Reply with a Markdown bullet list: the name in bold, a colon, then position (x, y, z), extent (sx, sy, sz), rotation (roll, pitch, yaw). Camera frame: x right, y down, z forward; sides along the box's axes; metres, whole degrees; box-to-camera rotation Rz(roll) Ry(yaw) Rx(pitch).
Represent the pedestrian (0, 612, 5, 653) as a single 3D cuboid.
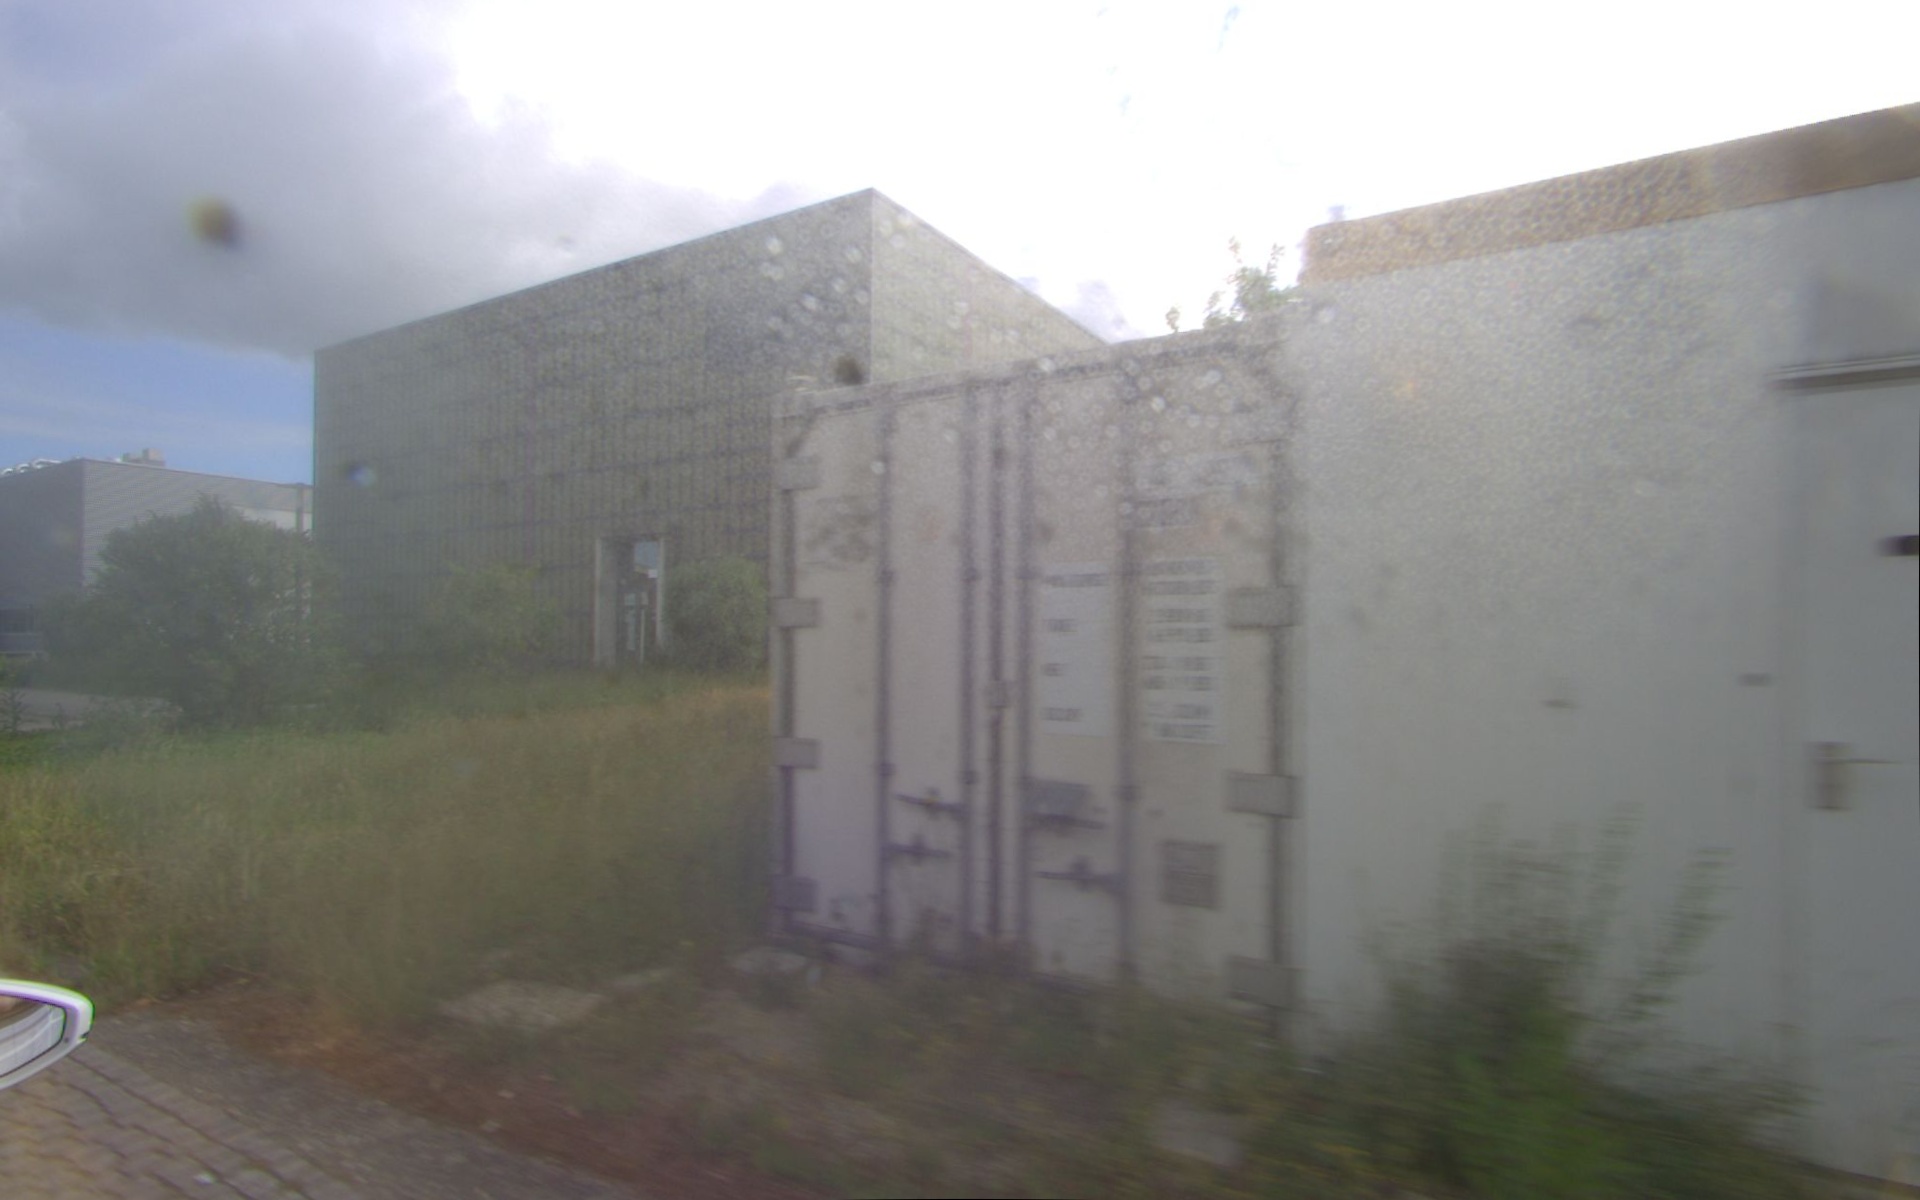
- **pedestrian**: position (-46.471, 1.547, 47.788), extent (0.838, 1.961, 0.920), rotation (0, -2, 2)
